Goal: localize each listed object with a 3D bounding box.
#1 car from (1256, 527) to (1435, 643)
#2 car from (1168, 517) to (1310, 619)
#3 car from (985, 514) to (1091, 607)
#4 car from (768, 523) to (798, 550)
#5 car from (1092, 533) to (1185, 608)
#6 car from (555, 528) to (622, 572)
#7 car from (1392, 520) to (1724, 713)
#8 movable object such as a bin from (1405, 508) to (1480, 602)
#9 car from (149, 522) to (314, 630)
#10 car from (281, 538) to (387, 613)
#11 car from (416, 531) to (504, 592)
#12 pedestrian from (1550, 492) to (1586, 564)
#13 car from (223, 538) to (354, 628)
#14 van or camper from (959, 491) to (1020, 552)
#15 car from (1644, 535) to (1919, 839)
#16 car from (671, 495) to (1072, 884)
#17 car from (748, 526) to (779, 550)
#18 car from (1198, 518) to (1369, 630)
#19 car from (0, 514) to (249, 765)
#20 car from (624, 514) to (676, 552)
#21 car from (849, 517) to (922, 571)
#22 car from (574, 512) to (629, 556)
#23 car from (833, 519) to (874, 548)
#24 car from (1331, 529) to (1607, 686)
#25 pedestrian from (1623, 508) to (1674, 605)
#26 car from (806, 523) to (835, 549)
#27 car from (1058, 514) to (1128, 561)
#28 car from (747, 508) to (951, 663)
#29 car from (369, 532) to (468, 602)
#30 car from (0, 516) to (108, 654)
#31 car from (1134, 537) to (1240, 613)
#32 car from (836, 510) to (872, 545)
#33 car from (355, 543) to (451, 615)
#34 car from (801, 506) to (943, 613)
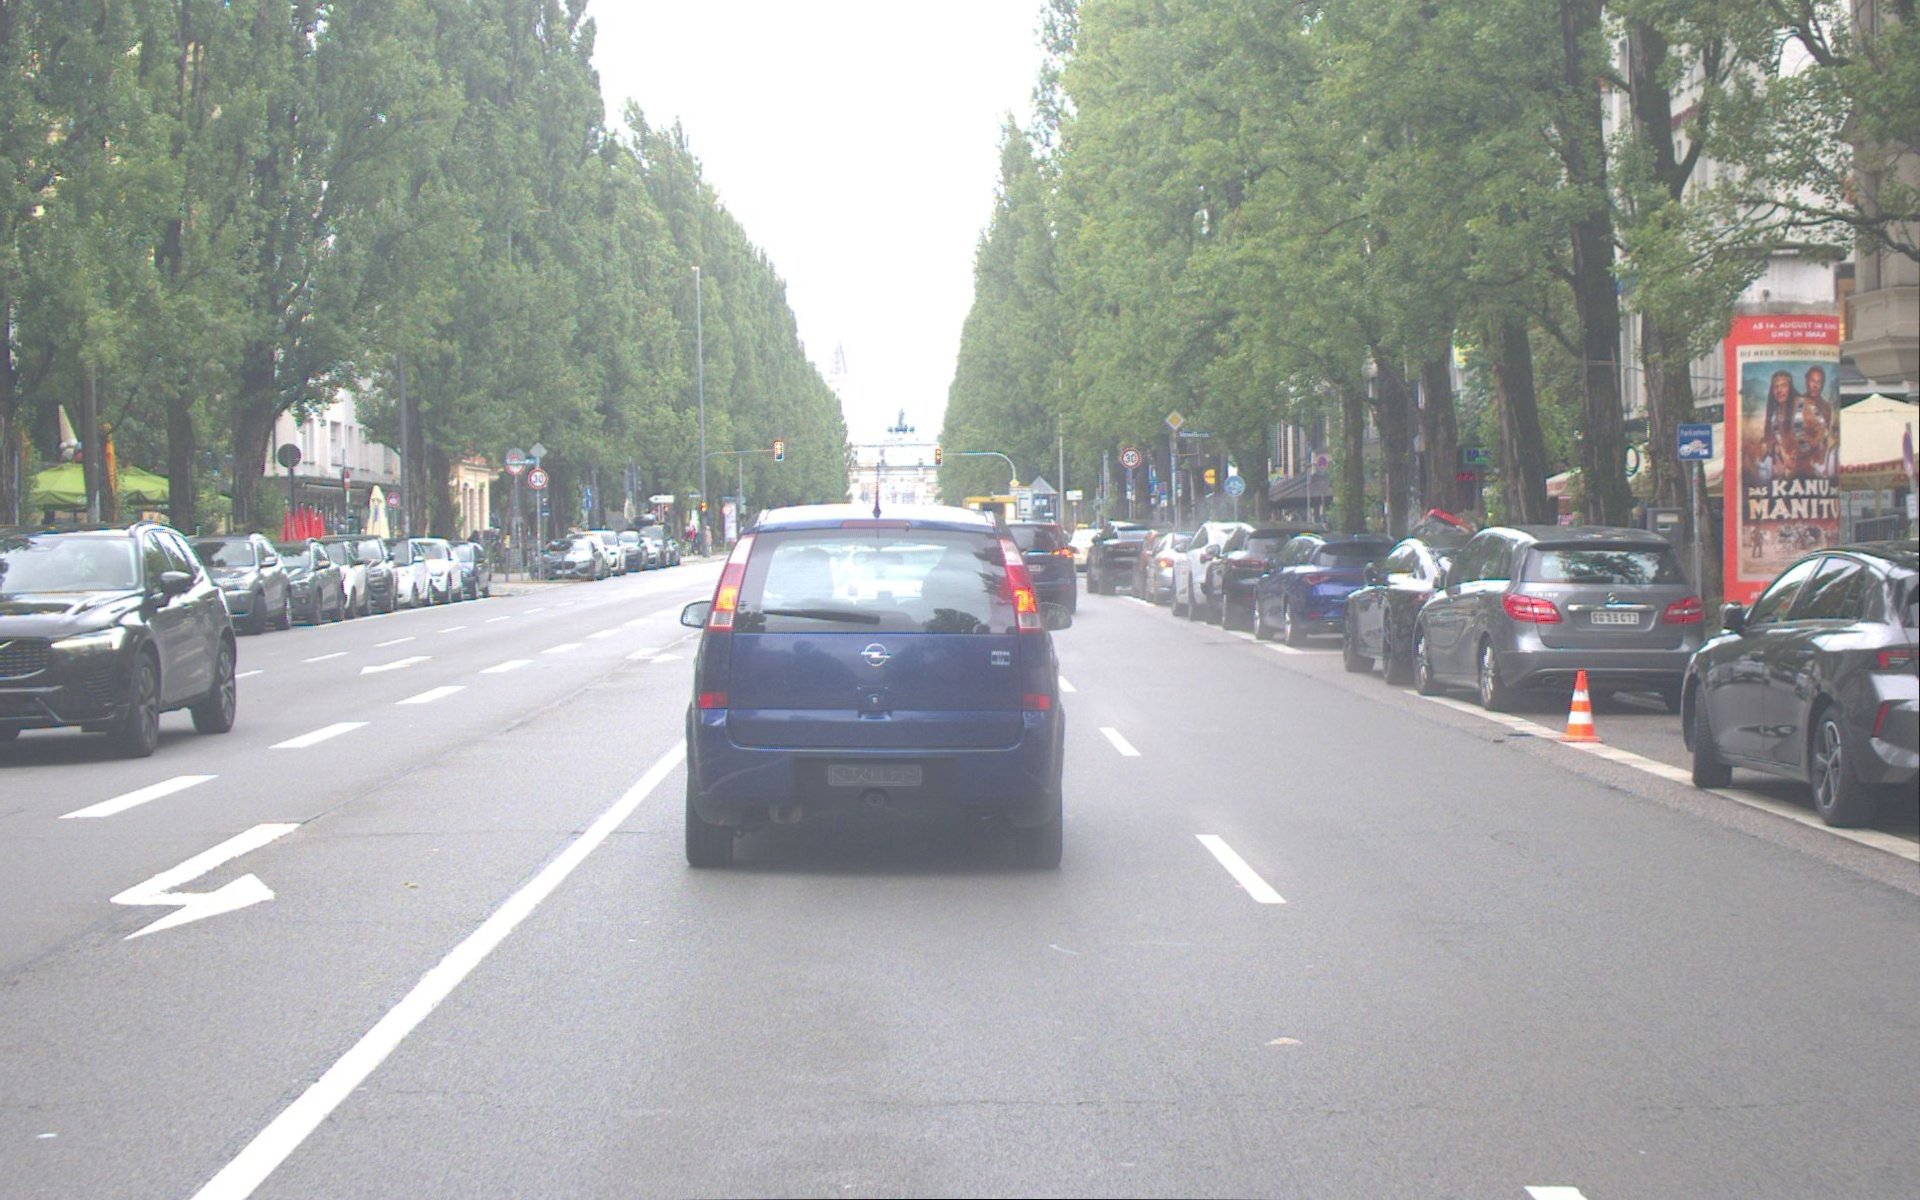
[{"bbox_3d":[4.956,-0.228,44.738,1.749,1.400,4.465,-1,1,-1],"label":"car"},{"bbox_3d":[4.578,-0.562,56.989,1.827,1.615,4.748,0,1,-2],"label":"car"},{"bbox_3d":[1.352,-0.731,60.759,1.706,1.568,4.000,-1,1,-1],"label":"car"},{"bbox_3d":[-11.608,-4.206,225.890,1.835,1.733,3.779,-1,1,-1],"label":"car"},{"bbox_3d":[3.978,-0.690,77.175,1.797,1.588,4.105,1,1,-1],"label":"car"},{"bbox_3d":[-12.125,-1.654,112.470,1.830,1.415,3.811,0,1,-1],"label":"car"},{"bbox_3d":[5.032,0.086,29.499,1.816,1.501,4.233,-1,1,-4],"label":"car"},{"bbox_3d":[8.875,-0.836,63.258,1.032,1.697,1.587,-1,1,-5],"label":"movable object such as a bin"},{"bbox_3d":[-12.241,-0.440,58.044,1.864,1.649,4.616,-3,1,-2],"label":"car"},{"bbox_3d":[-12.419,-0.508,68.328,1.631,1.423,2.984,-1,1,-2],"label":"car"},{"bbox_3d":[-12.335,-0.956,85.030,1.586,1.442,3.391,-1,1,1],"label":"car"},{"bbox_3d":[13.723,-1.628,77.588,0.653,1.621,0.704,-1,2,-3],"label":"pedestrian"},{"bbox_3d":[-12.234,-0.344,62.846,1.697,1.545,4.083,-1,1,-2],"label":"car"},{"bbox_3d":[1.266,-3.407,149.520,2.476,2.572,5.845,-1,1,-1],"label":"van or camper"},{"bbox_3d":[5.121,0.394,18.663,1.719,1.437,4.354,1,1,-3],"label":"car"},{"bbox_3d":[-0.437,0.327,16.469,1.681,1.635,4.001,0,1,-2],"label":"car"},{"bbox_3d":[-13.284,-4.191,232.162,1.961,1.543,3.779,-1,1,-1],"label":"car"},{"bbox_3d":[4.783,-0.421,51.396,1.993,1.560,4.484,-1,1,-2],"label":"car"},{"bbox_3d":[-6.543,0.236,24.809,1.935,1.618,4.337,-2,1,-1],"label":"car"},{"bbox_3d":[-13.669,-2.958,151.800,1.993,1.656,4.001,-1,1,-2],"label":"car"},{"bbox_3d":[-2.116,-1.599,97.215,1.993,1.492,4.001,-1,1,-2],"label":"car"},{"bbox_3d":[-12.852,-2.379,123.313,1.654,1.556,3.458,-1,2,-1],"label":"car"},{"bbox_3d":[-5.307,-3.323,171.618,1.961,1.394,3.779,-1,1,-1],"label":"car"},{"bbox_3d":[5.005,0.016,34.453,1.878,1.427,4.805,-1,1,-2],"label":"car"},{"bbox_3d":[12.844,-0.813,64.171,0.729,1.796,0.931,-1,1,0],"label":"pedestrian"},{"bbox_3d":[-9.068,-4.168,223.950,1.835,1.671,3.779,-1,1,-1],"label":"car"},{"bbox_3d":[4.012,-1.894,104.282,1.897,1.358,3.900,-1,1,-1],"label":"car"},{"bbox_3d":[-1.154,-0.193,35.851,1.993,1.492,4.001,-1,1,-2],"label":"car"},{"bbox_3d":[-12.541,-0.785,79.802,1.835,1.541,4.087,-1,1,-3],"label":"car"},{"bbox_3d":[-11.572,-0.210,41.124,1.782,1.570,4.133,-1,1,-1],"label":"car"},{"bbox_3d":[4.406,-0.511,67.179,1.670,1.401,4.128,1,1,-2],"label":"car"},{"bbox_3d":[-5.515,-3.770,178.675,1.835,1.755,3.779,-1,1,-1],"label":"car"},{"bbox_3d":[-12.280,-0.478,75.925,1.573,1.528,2.922,-1,1,1],"label":"car"},{"bbox_3d":[-1.305,-0.622,50.553,1.993,1.492,4.001,-1,1,-2],"label":"car"}]
